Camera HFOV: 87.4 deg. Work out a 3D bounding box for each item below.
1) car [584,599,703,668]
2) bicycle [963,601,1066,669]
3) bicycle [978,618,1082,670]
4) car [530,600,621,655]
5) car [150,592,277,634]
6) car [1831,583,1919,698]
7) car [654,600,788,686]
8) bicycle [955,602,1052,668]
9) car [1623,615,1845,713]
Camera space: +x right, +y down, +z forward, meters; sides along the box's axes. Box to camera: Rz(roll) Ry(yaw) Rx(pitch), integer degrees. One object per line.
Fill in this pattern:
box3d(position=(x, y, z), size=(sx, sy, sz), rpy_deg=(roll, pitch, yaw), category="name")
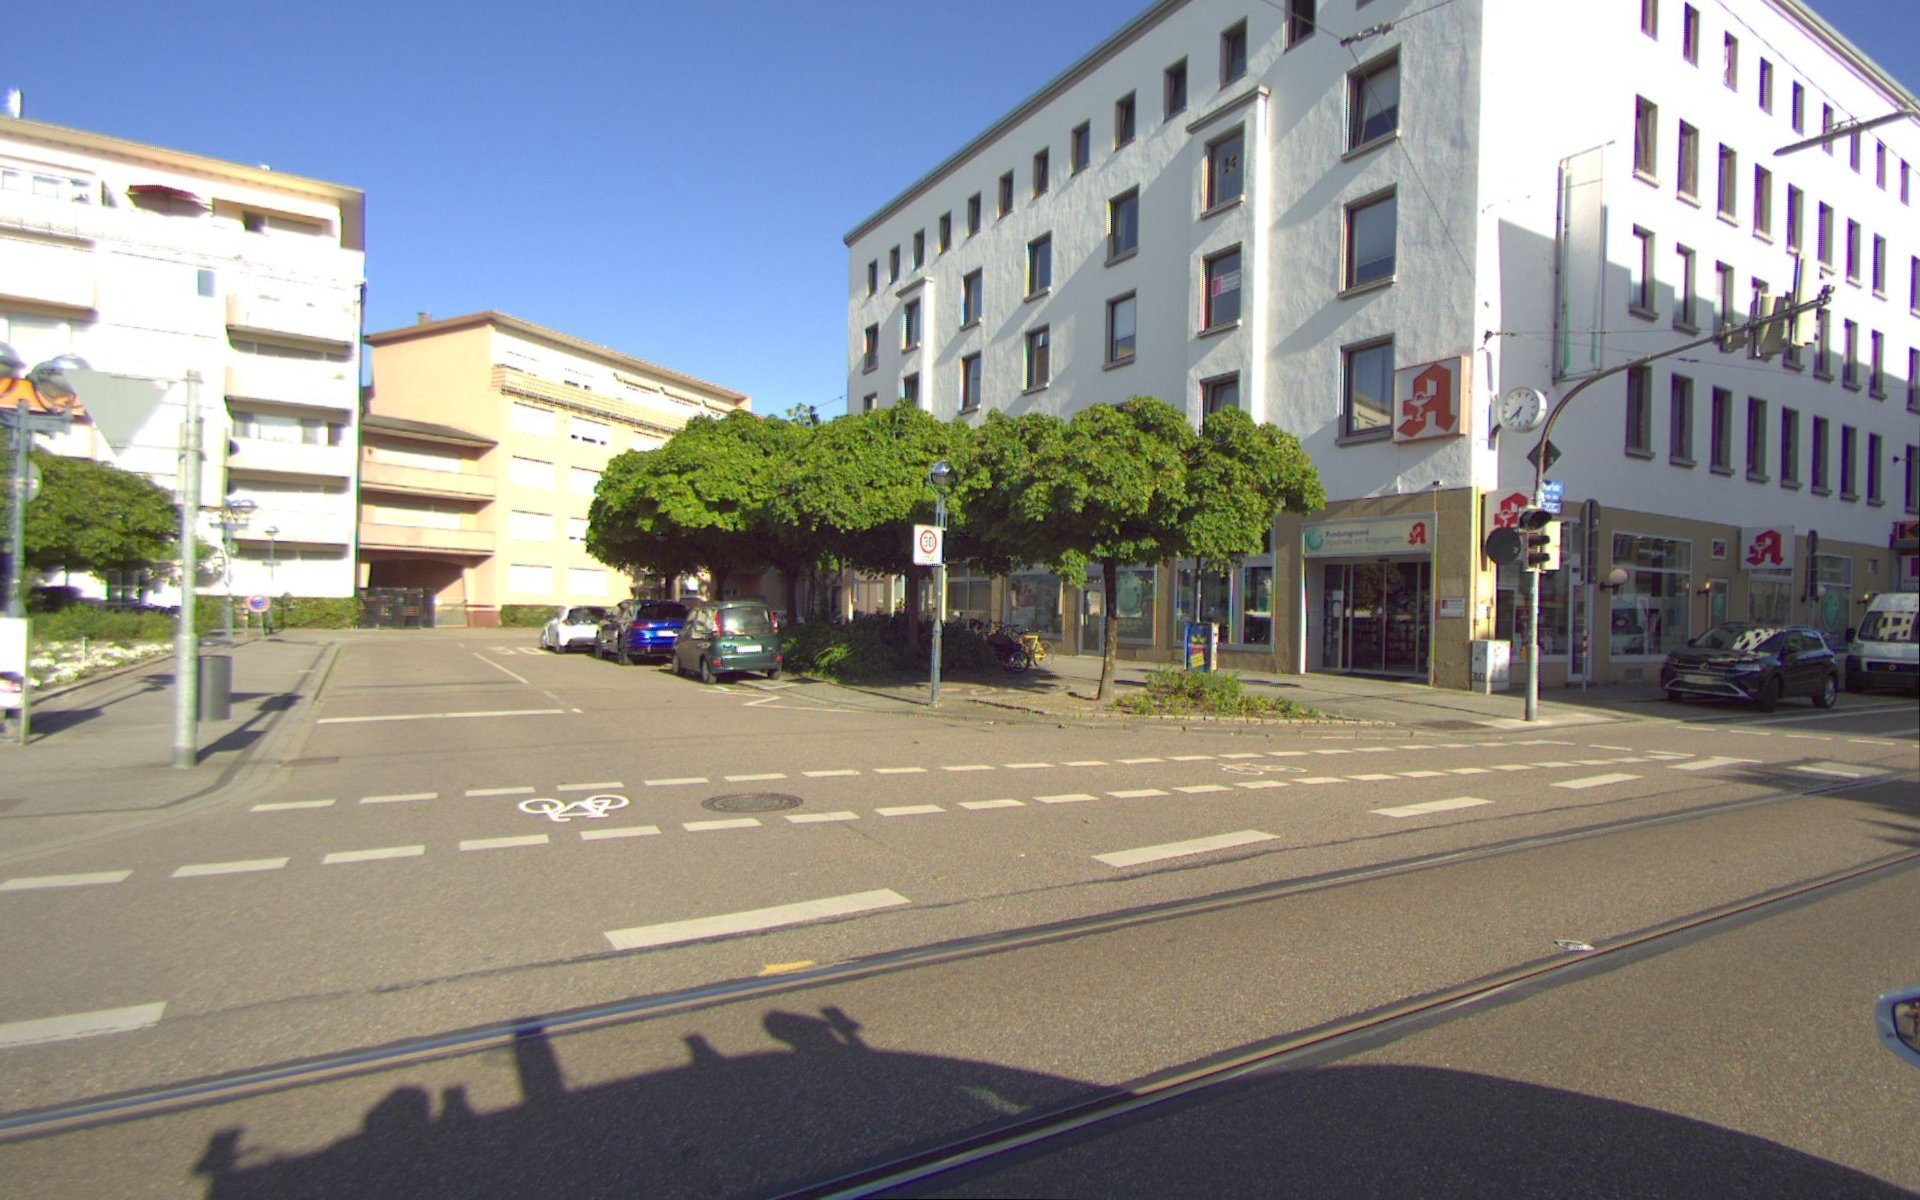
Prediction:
box3d(position=(-8.666, 0.846, 27.257), size=(1.978, 1.684, 4.579), rpy_deg=(2, -1, -32), category="car")
box3d(position=(1.386, 0.877, 25.076), size=(2.586, 1.628, 0.615), rpy_deg=(2, 0, -27), category="bicycle")
box3d(position=(1.719, 1.066, 24.436), size=(2.587, 1.206, 0.615), rpy_deg=(2, 0, -28), category="bicycle")
box3d(position=(-12.442, 0.846, 32.330), size=(1.835, 1.628, 4.579), rpy_deg=(2, -1, -32), category="car")
box3d(position=(-25.383, 0.447, 34.283), size=(3.272, 1.372, 1.637), rpy_deg=(2, -1, -30), category="car")
box3d(position=(23.949, 0.987, 24.712), size=(6.137, 2.576, 2.074), rpy_deg=(2, 0, -32), category="car")
box3d(position=(-5.395, 0.880, 22.315), size=(1.804, 1.728, 3.967), rpy_deg=(2, -1, -31), category="car")
box3d(position=(1.135, 0.902, 25.732), size=(2.592, 1.628, 0.614), rpy_deg=(2, -1, -33), category="bicycle")
box3d(position=(15.099, 1.198, 19.551), size=(4.354, 1.590, 1.982), rpy_deg=(2, 2, -32), category="car")
